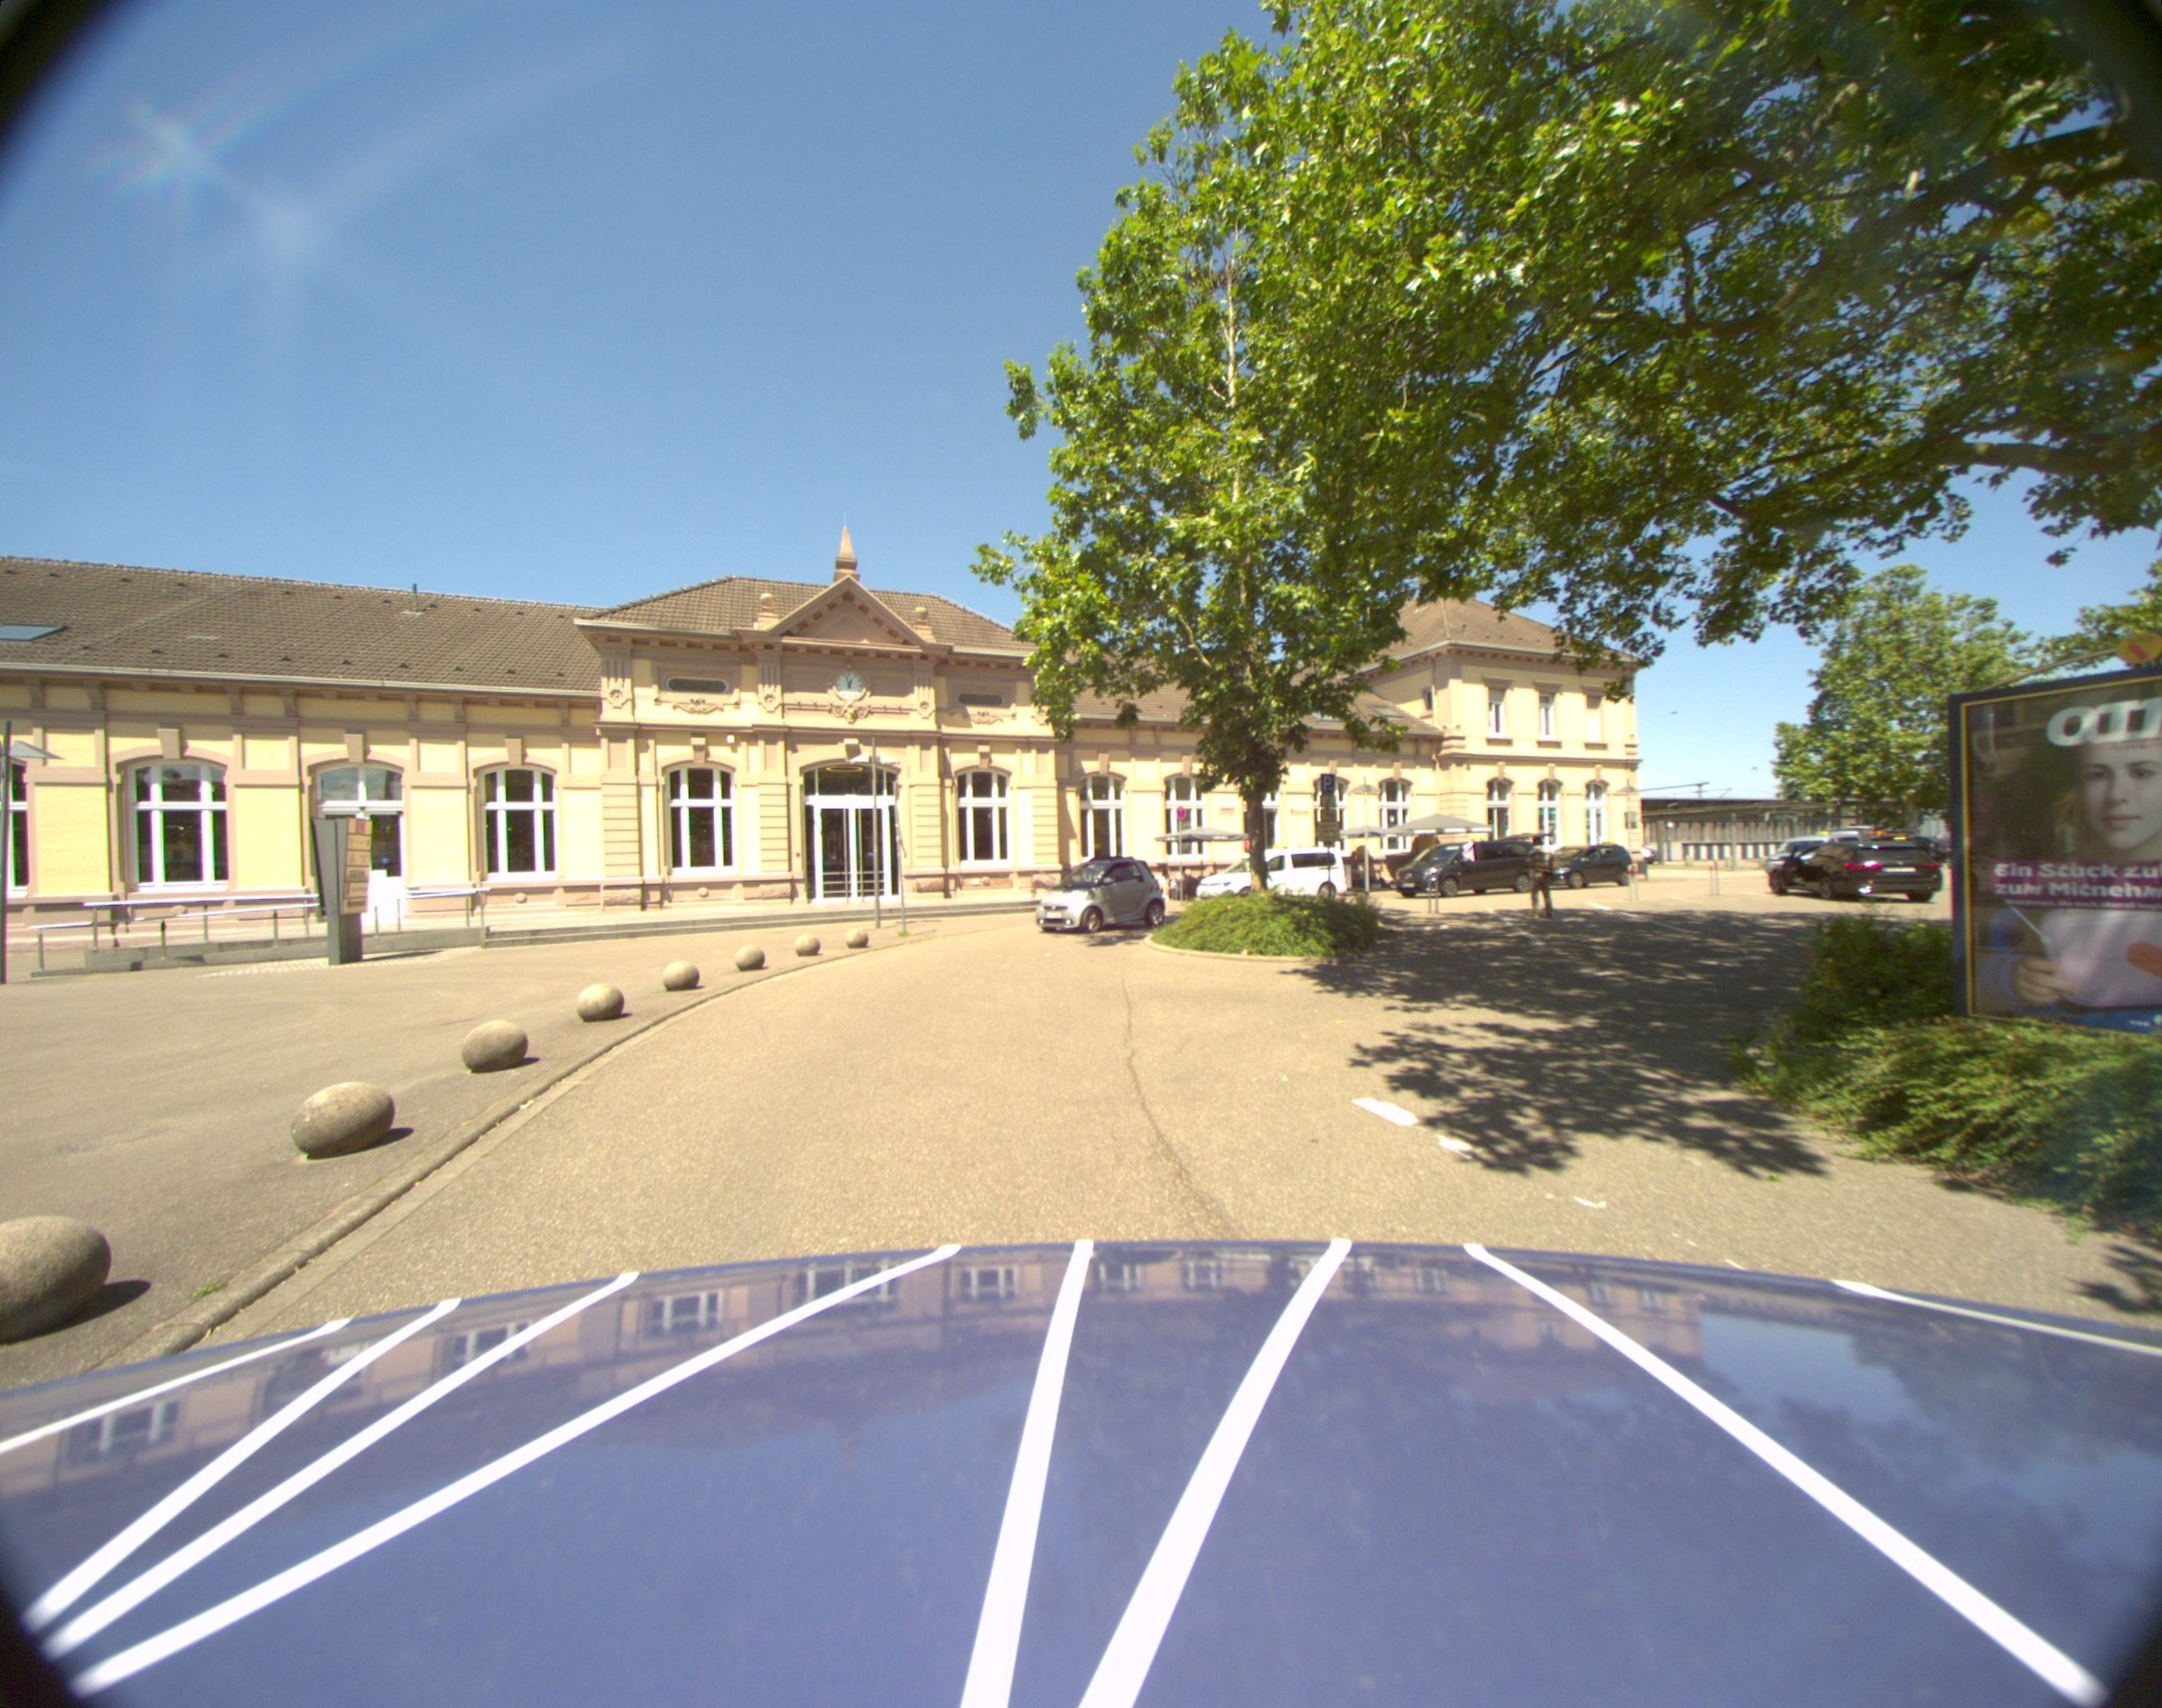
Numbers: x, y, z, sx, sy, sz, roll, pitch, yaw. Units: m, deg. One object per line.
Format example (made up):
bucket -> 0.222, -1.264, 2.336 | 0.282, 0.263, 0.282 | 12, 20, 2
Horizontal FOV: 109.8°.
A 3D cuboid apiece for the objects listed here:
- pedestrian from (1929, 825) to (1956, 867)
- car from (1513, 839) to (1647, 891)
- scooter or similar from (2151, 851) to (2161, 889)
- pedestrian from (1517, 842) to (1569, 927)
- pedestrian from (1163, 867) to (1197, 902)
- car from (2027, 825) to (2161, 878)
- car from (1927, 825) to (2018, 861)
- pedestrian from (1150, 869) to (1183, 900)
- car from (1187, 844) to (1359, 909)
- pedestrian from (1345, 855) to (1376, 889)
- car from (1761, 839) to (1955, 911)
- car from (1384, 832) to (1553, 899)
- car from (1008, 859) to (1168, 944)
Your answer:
pedestrian -> 41.746, -0.392, 36.830 | 0.618, 1.977, 0.628 | -2, -1, -27
car -> 19.080, 0.409, 29.047 | 4.847, 1.829, 2.077 | -1, -1, -27
scooter or similar -> 31.140, 0.461, 21.750 | 0.437, 1.095, 0.403 | -2, 0, 8
pedestrian -> 9.592, 0.626, 15.808 | 0.772, 1.707, 0.816 | -2, 0, 22
pedestrian -> 3.521, 1.067, 26.982 | 0.853, 1.155, 0.880 | -2, 2, -25
car -> 35.034, -0.116, 25.874 | 1.797, 1.595, 4.069 | -3, 0, 24
car -> 51.465, -0.613, 43.858 | 4.251, 1.778, 1.997 | -2, -2, -20
pedestrian -> 3.131, 1.105, 27.838 | 0.853, 1.073, 0.880 | -2, 2, -25
car -> 6.027, 0.665, 23.762 | 5.145, 1.854, 1.812 | -1, -1, -24
pedestrian -> 11.554, 0.743, 31.425 | 0.853, 1.363, 0.880 | -2, 2, -25
car -> 19.633, 0.468, 19.510 | 1.797, 1.534, 4.536 | -3, 0, 22
car -> 13.421, 0.375, 26.216 | 5.833, 2.111, 2.089 | -1, -1, -27
car -> 0.194, 0.941, 16.360 | 3.112, 1.584, 1.597 | -2, 0, -41
